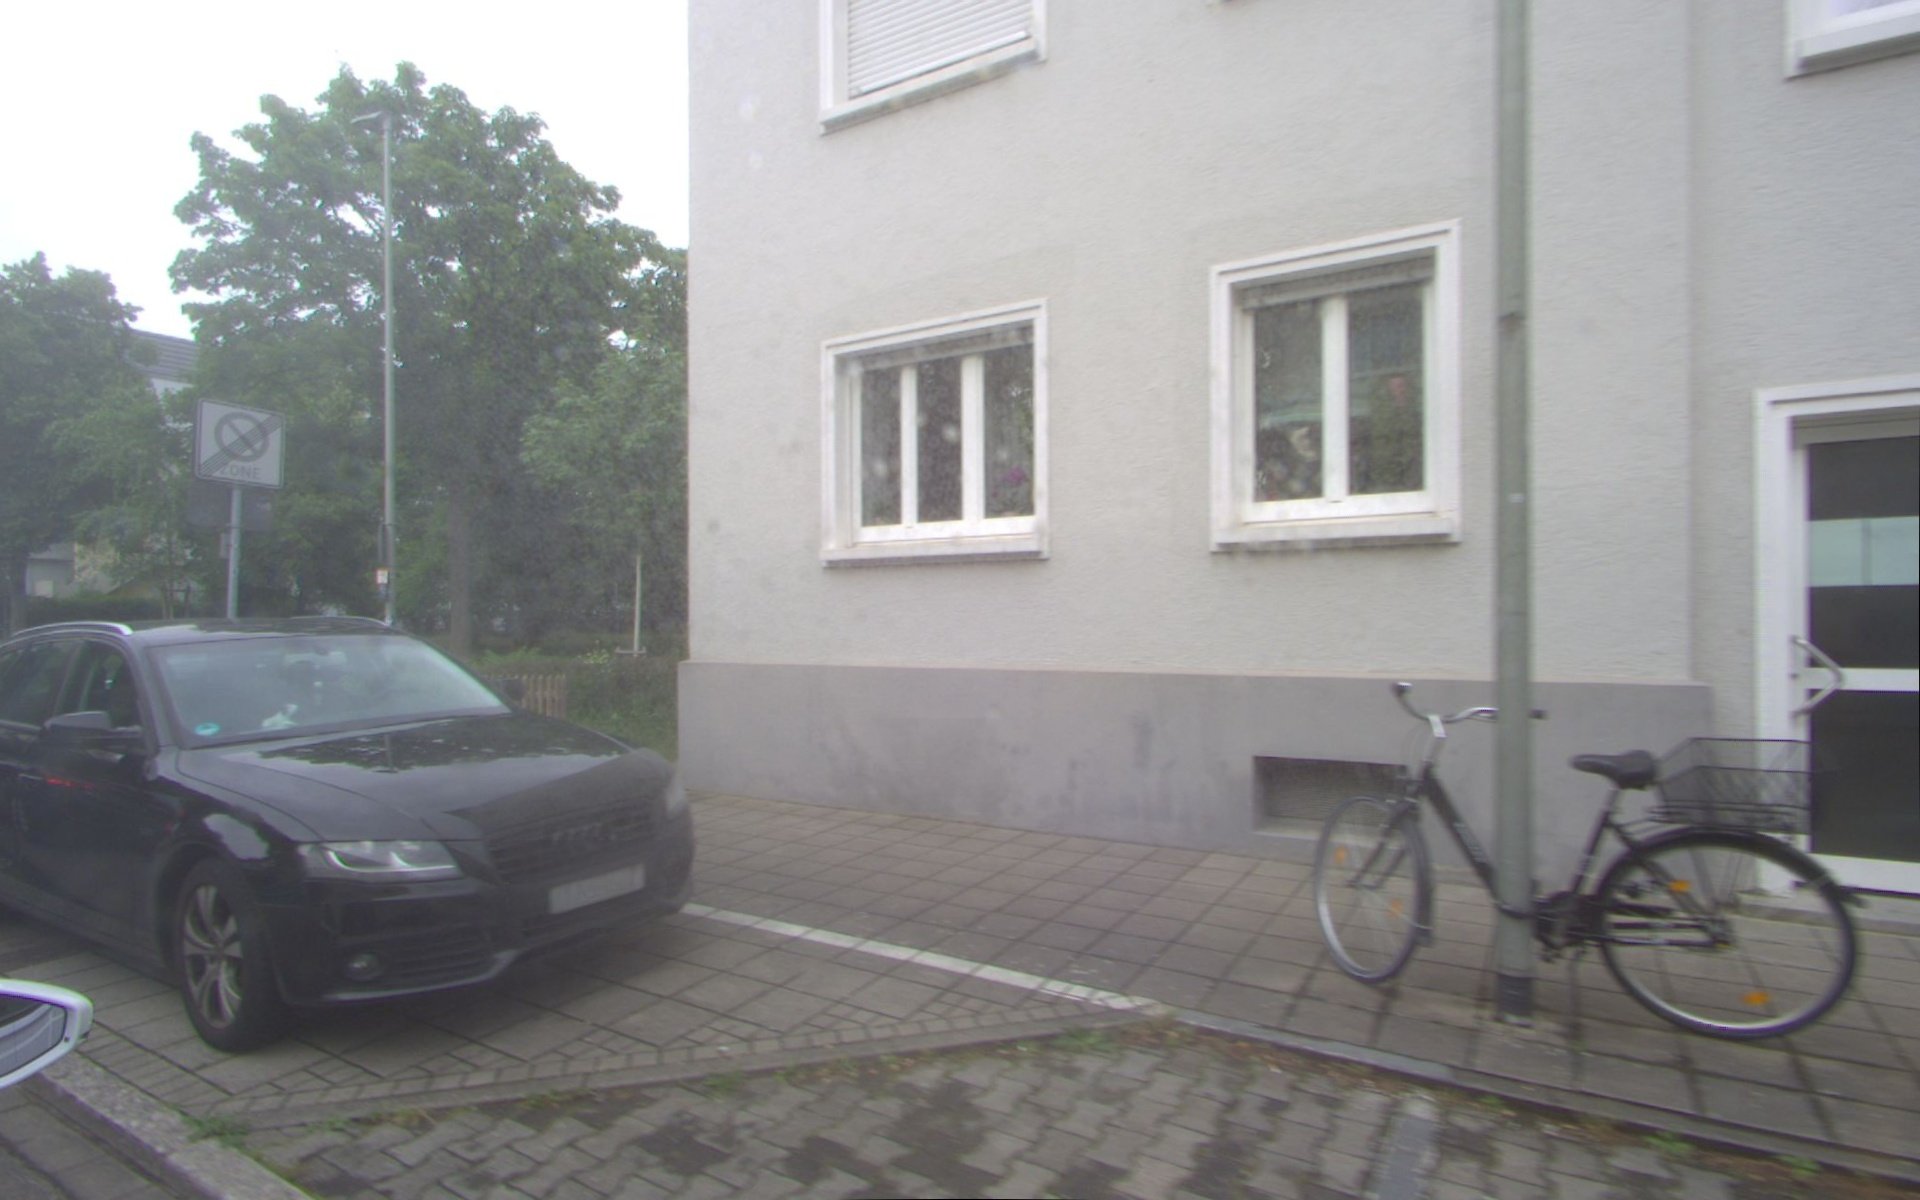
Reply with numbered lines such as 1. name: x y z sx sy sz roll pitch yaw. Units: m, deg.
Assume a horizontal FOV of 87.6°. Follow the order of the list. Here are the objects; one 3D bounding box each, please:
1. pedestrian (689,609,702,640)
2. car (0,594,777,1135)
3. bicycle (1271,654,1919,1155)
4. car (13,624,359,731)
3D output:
1. pedestrian: -15.401 1.429 58.308 0.537 1.821 0.568 1 0 42
2. car: -3.267 0.750 4.723 4.655 1.482 1.858 -1 0 30
3. bicycle: 2.060 0.828 3.280 1.867 1.216 0.747 0 1 32
4. car: -12.427 1.146 16.368 1.842 1.481 4.098 0 -1 30
